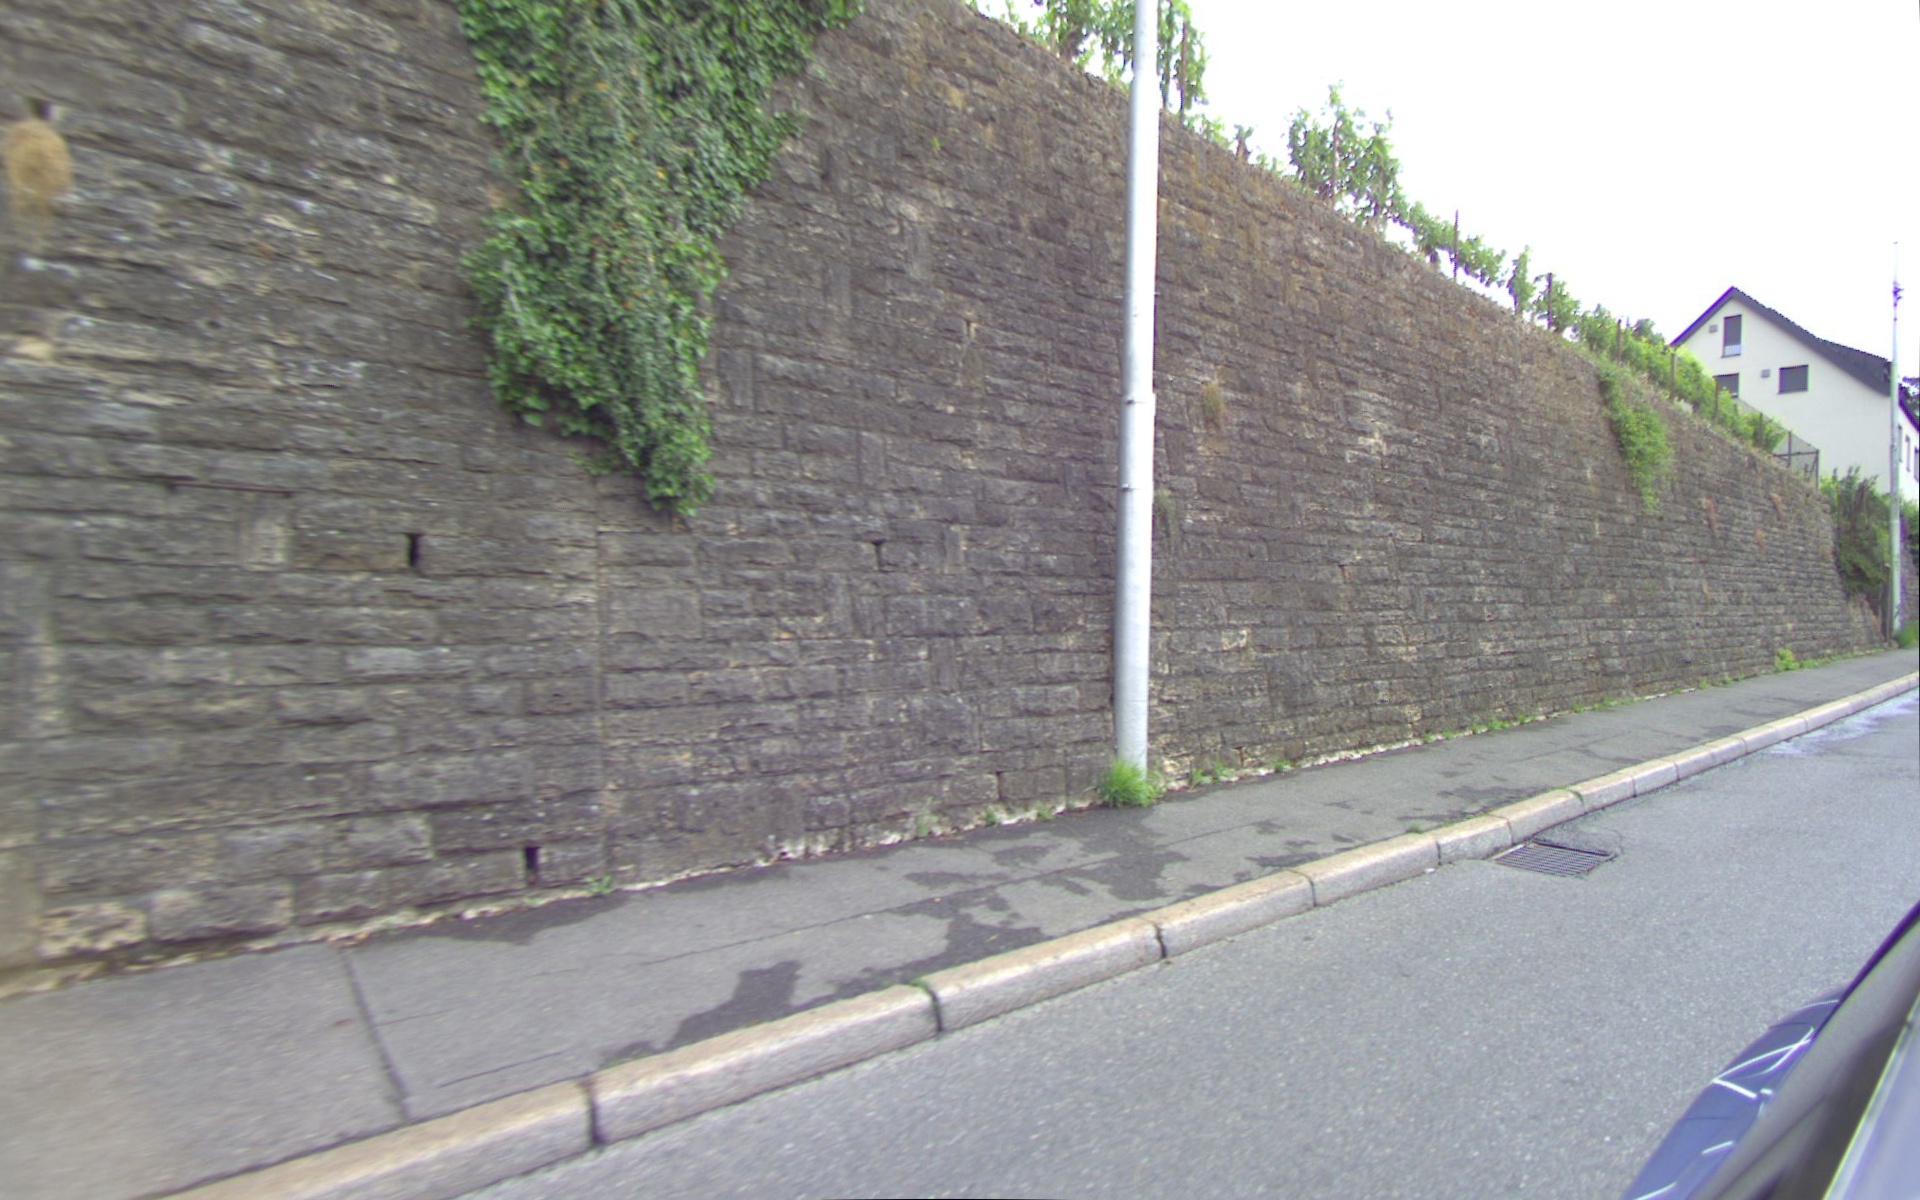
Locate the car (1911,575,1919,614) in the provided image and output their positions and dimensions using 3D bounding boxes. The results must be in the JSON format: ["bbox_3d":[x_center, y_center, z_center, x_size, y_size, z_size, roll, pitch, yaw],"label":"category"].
[{"bbox_3d":[41.313,-0.276,42.302,3.984,1.594,1.798,-1,1,-40],"label":"car"}]
